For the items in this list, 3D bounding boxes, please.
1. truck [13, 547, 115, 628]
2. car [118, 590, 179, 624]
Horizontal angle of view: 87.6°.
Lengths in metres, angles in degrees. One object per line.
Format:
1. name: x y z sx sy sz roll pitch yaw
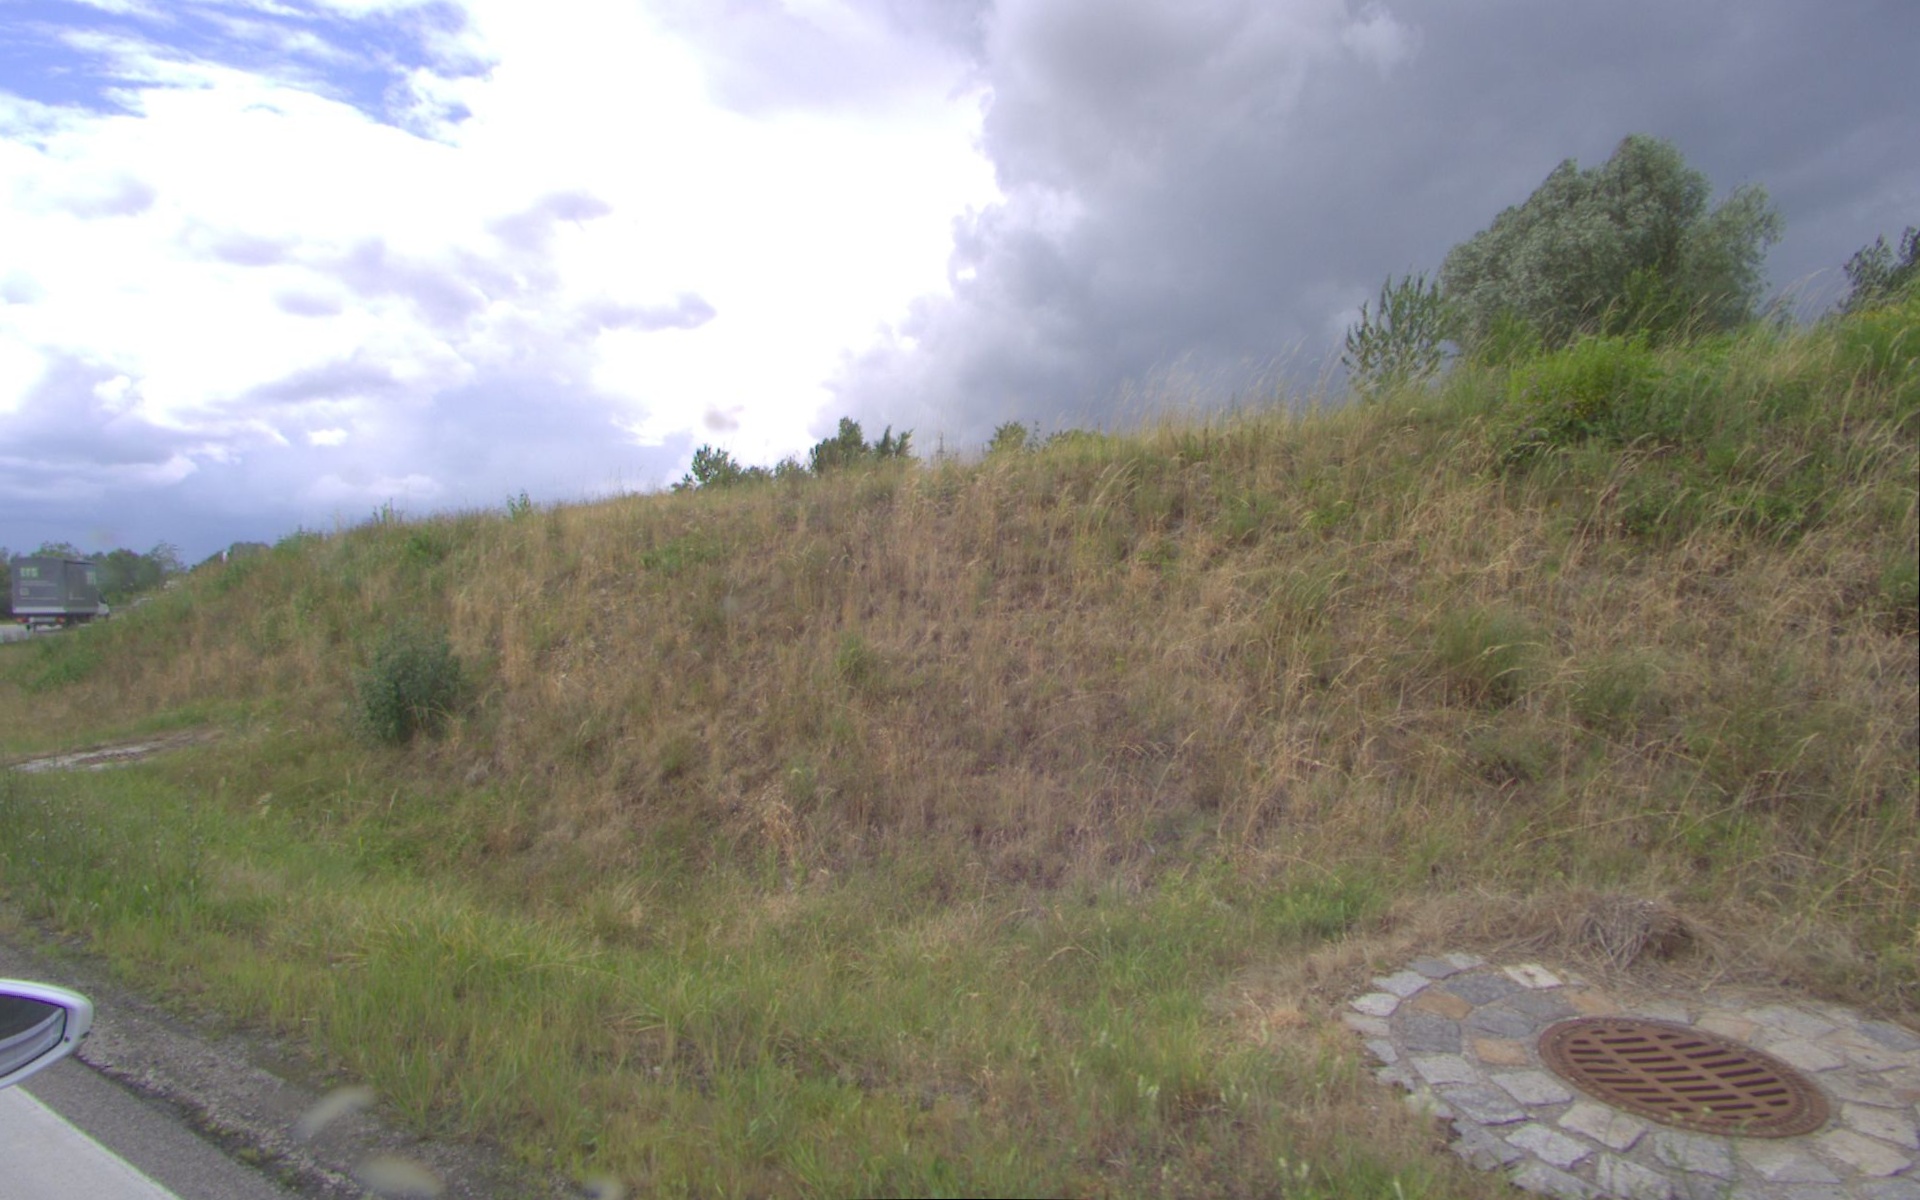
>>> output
1. truck: -47.113 -0.516 52.849 2.200 3.956 5.998 0 -2 -23
2. car: -51.765 0.486 63.923 1.967 2.039 3.989 0 -2 -23
